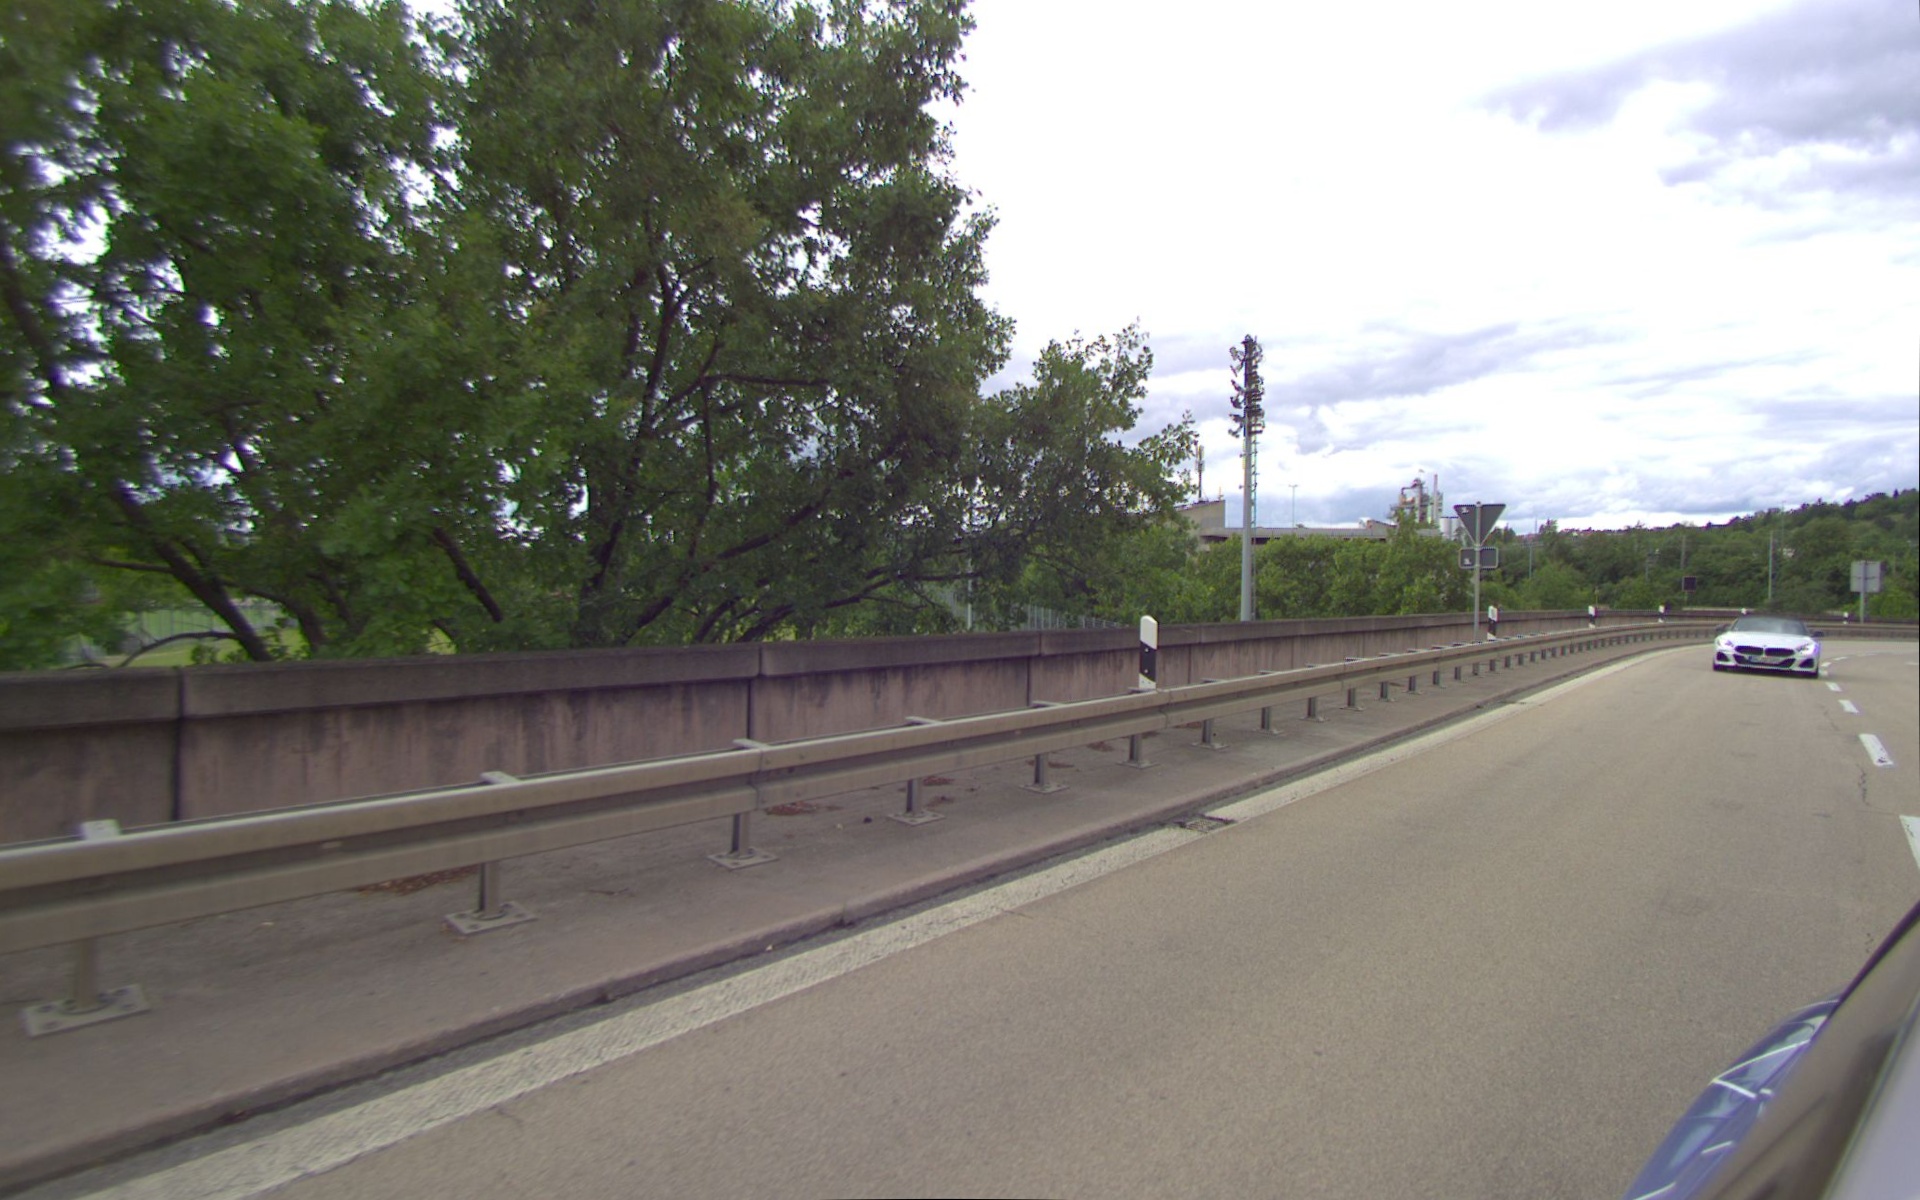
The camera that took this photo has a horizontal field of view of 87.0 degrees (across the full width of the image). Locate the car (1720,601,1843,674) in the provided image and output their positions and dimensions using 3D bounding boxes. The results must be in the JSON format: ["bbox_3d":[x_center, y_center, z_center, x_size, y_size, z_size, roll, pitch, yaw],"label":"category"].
[{"bbox_3d":[19.079,0.784,23.416,1.858,1.361,4.751,5,4,42],"label":"car"}]
